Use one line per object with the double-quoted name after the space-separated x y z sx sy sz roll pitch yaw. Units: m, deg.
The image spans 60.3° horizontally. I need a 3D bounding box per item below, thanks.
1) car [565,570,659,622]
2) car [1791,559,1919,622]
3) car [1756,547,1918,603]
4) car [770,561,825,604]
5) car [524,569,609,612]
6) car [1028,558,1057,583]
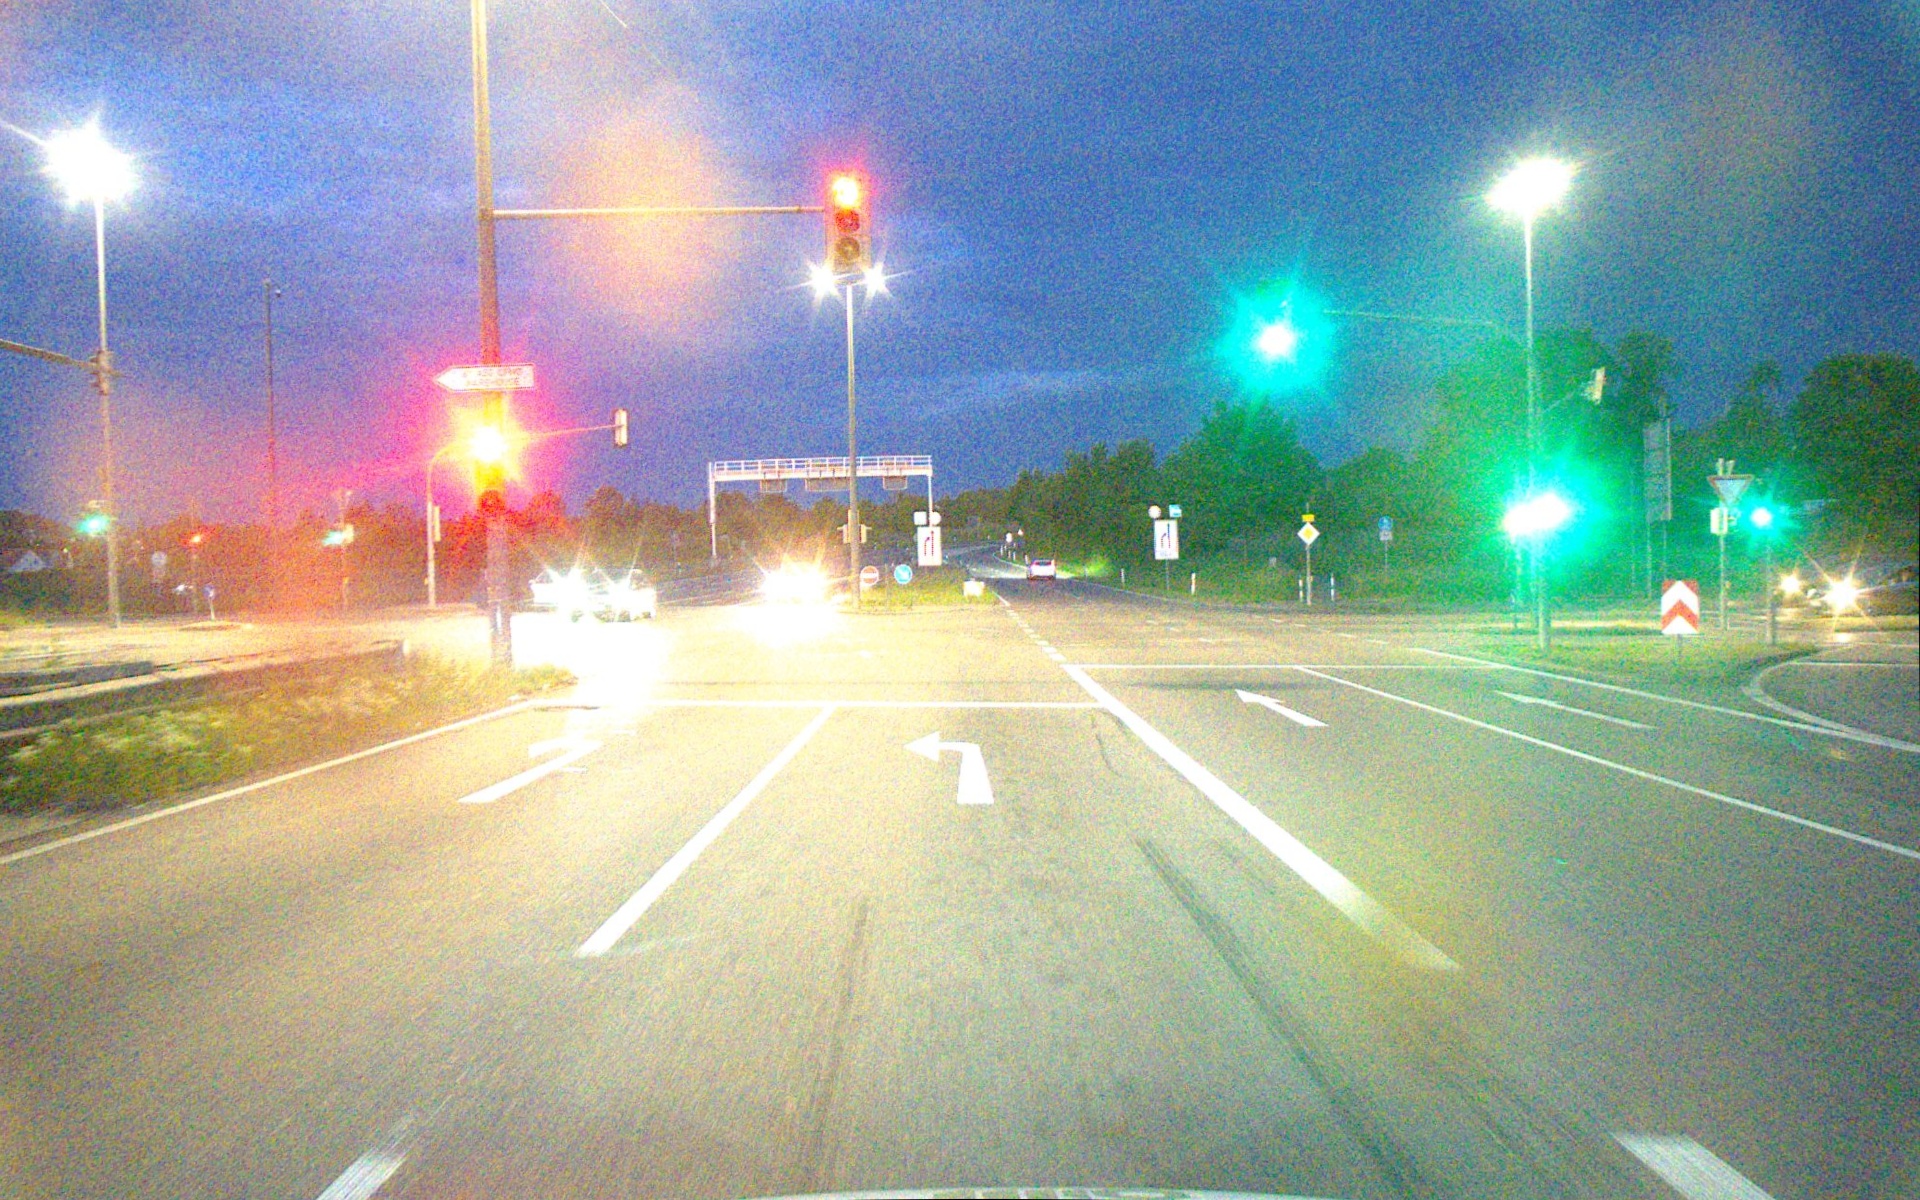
-10.529 -0.157 50.378 1.953 1.507 4.681 0 1 -1 "car"
24.170 -0.267 43.145 3.992 1.596 2.001 0 1 -4 "car"
26.380 -0.762 49.805 3.908 1.596 1.900 -1 1 -4 "car"
-6.689 -0.752 68.492 1.953 1.727 4.000 0 1 -1 "car"
-13.765 -0.354 58.106 1.953 1.450 4.531 0 1 -1 "car"
5.678 -2.035 113.918 1.966 1.639 3.846 0 0 2 "car"
